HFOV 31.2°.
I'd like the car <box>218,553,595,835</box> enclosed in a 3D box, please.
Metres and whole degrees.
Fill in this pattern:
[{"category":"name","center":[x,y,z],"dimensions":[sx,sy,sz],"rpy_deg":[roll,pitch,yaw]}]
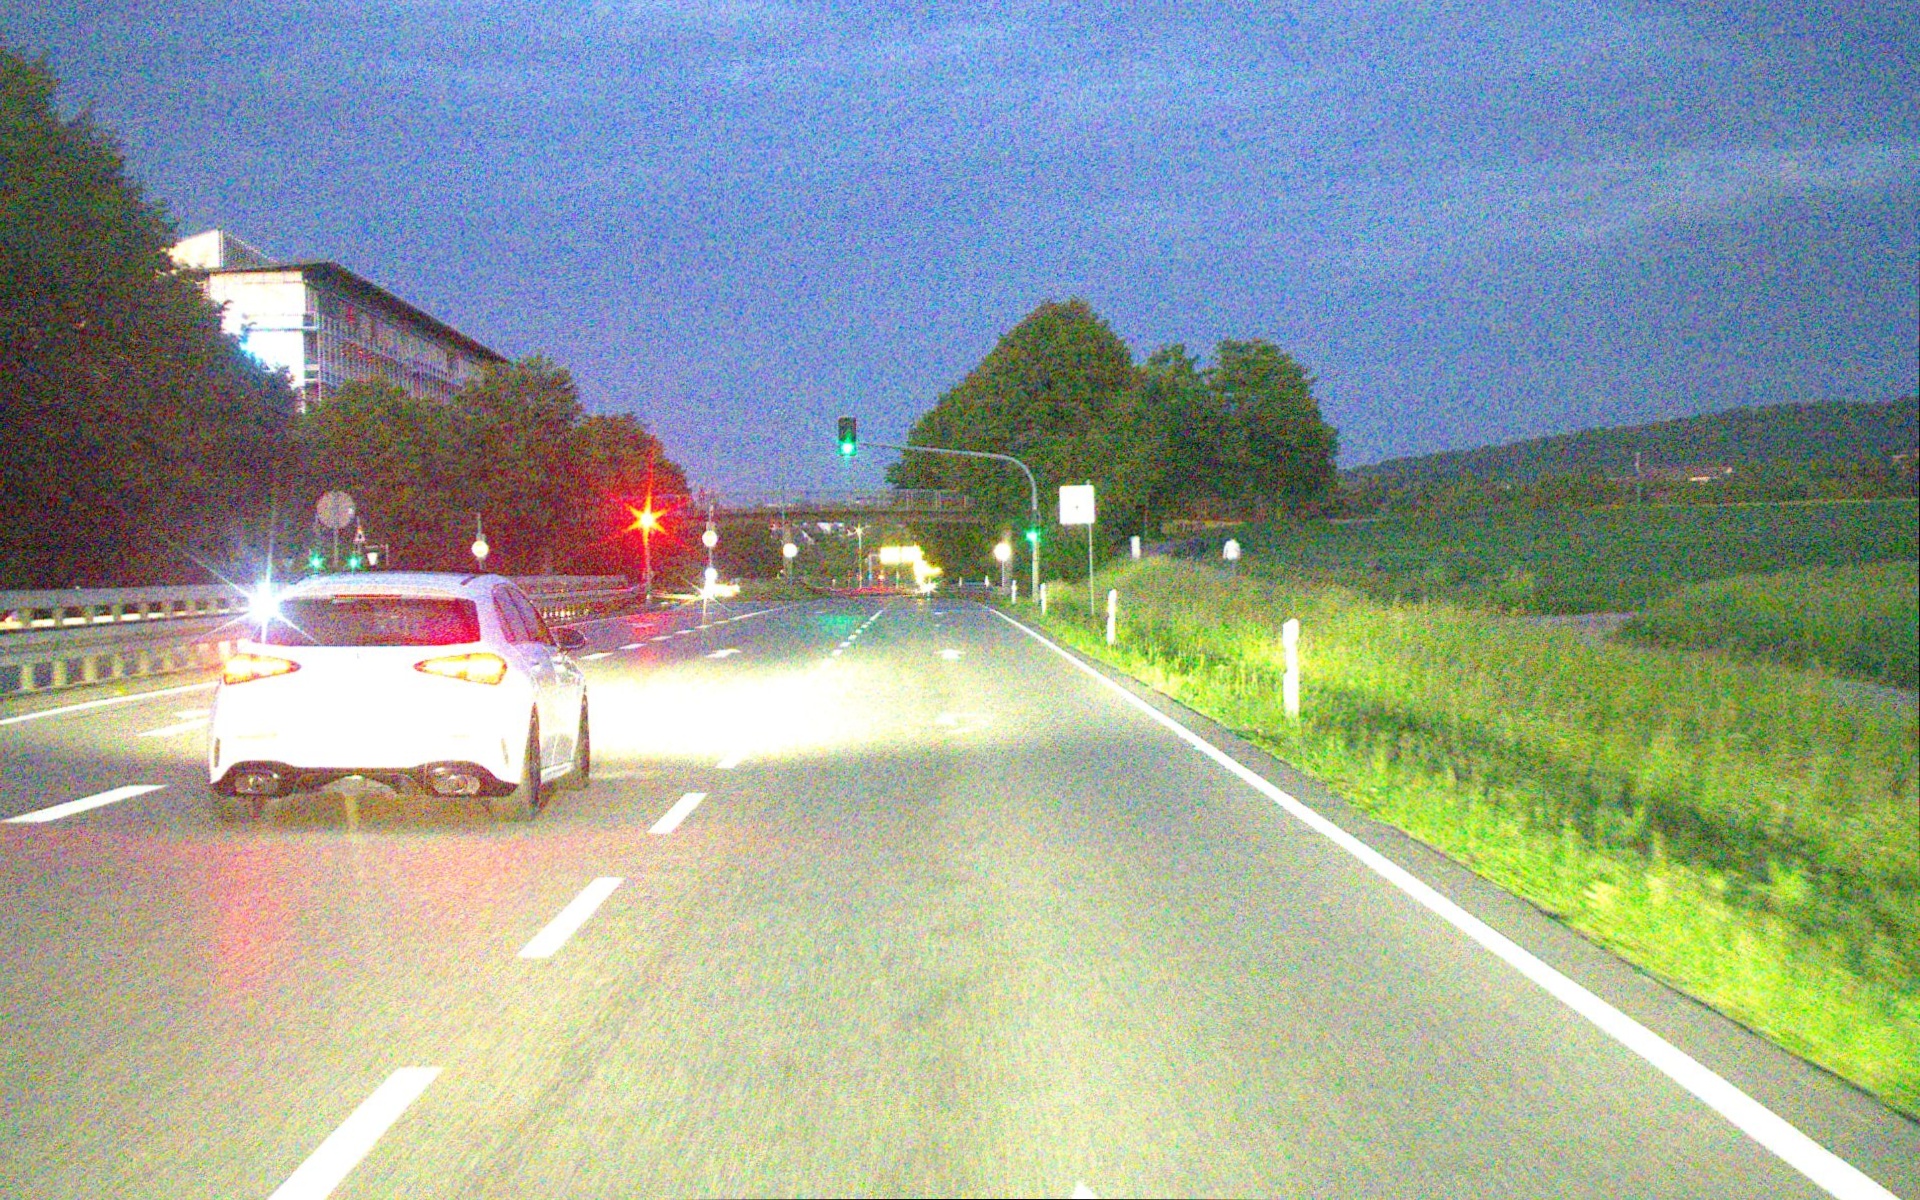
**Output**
[{"category":"car","center":[-3.204,0.473,20.675],"dimensions":[1.642,1.485,4.580],"rpy_deg":[0,1,-2]}]

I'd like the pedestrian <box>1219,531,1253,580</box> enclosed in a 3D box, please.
[{"category":"pedestrian","center":[9.801,-1.570,122.069],"dimensions":[1.090,1.717,1.260],"rpy_deg":[0,0,-1]}]

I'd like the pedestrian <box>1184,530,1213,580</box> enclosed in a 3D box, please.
[{"category":"pedestrian","center":[8.486,-1.606,122.218],"dimensions":[0.921,1.787,1.106],"rpy_deg":[0,1,0]}]
